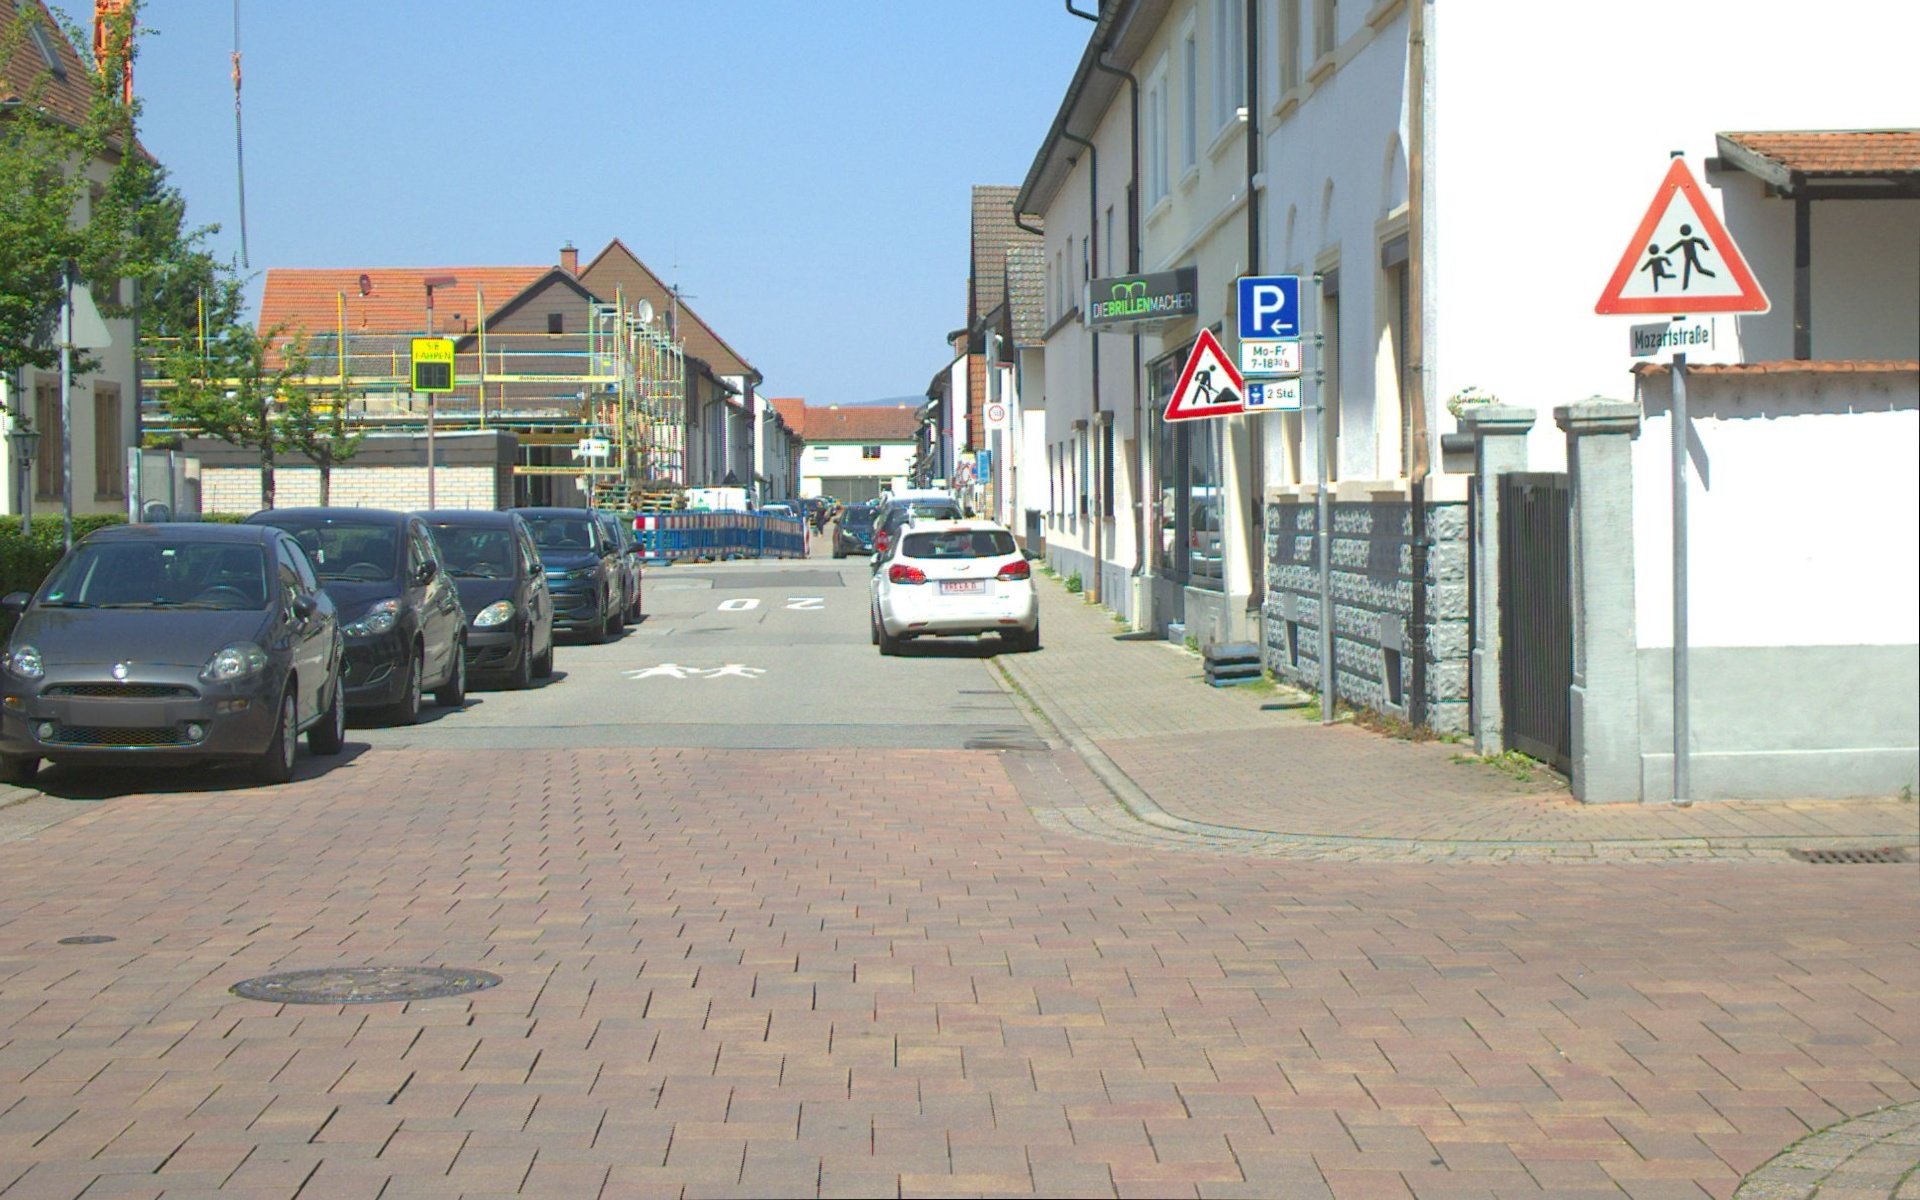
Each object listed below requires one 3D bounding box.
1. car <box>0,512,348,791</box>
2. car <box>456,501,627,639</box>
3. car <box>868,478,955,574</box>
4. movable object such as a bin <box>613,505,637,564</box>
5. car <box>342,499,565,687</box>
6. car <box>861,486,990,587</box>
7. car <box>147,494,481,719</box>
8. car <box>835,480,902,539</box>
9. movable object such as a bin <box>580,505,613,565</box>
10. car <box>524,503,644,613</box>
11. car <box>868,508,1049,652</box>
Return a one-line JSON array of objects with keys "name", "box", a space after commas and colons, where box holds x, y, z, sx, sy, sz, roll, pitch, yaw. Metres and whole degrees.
[{"name": "car", "box": [-4.748, 0.235, 20.728, 1.702, 1.491, 3.858, -1, 2, -5]}, {"name": "car", "box": [-5.183, -0.420, 43.057, 1.826, 1.625, 4.218, -1, 2, -3]}, {"name": "car", "box": [-0.926, -1.414, 64.453, 1.564, 1.607, 3.543, 0, 4, -2]}, {"name": "movable object such as a bin", "box": [-6.643, -1.305, 68.185, 0.431, 1.151, 0.364, -1, 2, -11]}, {"name": "car", "box": [-4.691, -0.116, 32.284, 1.637, 1.623, 3.769, -1, 2, -2]}, {"name": "car", "box": [-0.626, -1.123, 59.287, 1.884, 1.550, 3.895, -4, 2, -4]}, {"name": "car", "box": [-4.902, -0.016, 26.606, 1.815, 1.599, 4.025, 0, 2, 0]}, {"name": "car", "box": [-2.671, -2.613, 99.291, 1.881, 1.662, 4.154, 0, 2, -2]}, {"name": "movable object such as a bin", "box": [-7.159, -1.284, 67.682, 0.621, 1.151, 0.677, -1, 2, -8]}, {"name": "car", "box": [-5.271, -0.622, 48.492, 1.436, 1.469, 3.787, 0, 2, -3]}, {"name": "car", "box": [0.037, -0.271, 39.479, 1.887, 1.536, 4.243, 0, 2, 2]}]
